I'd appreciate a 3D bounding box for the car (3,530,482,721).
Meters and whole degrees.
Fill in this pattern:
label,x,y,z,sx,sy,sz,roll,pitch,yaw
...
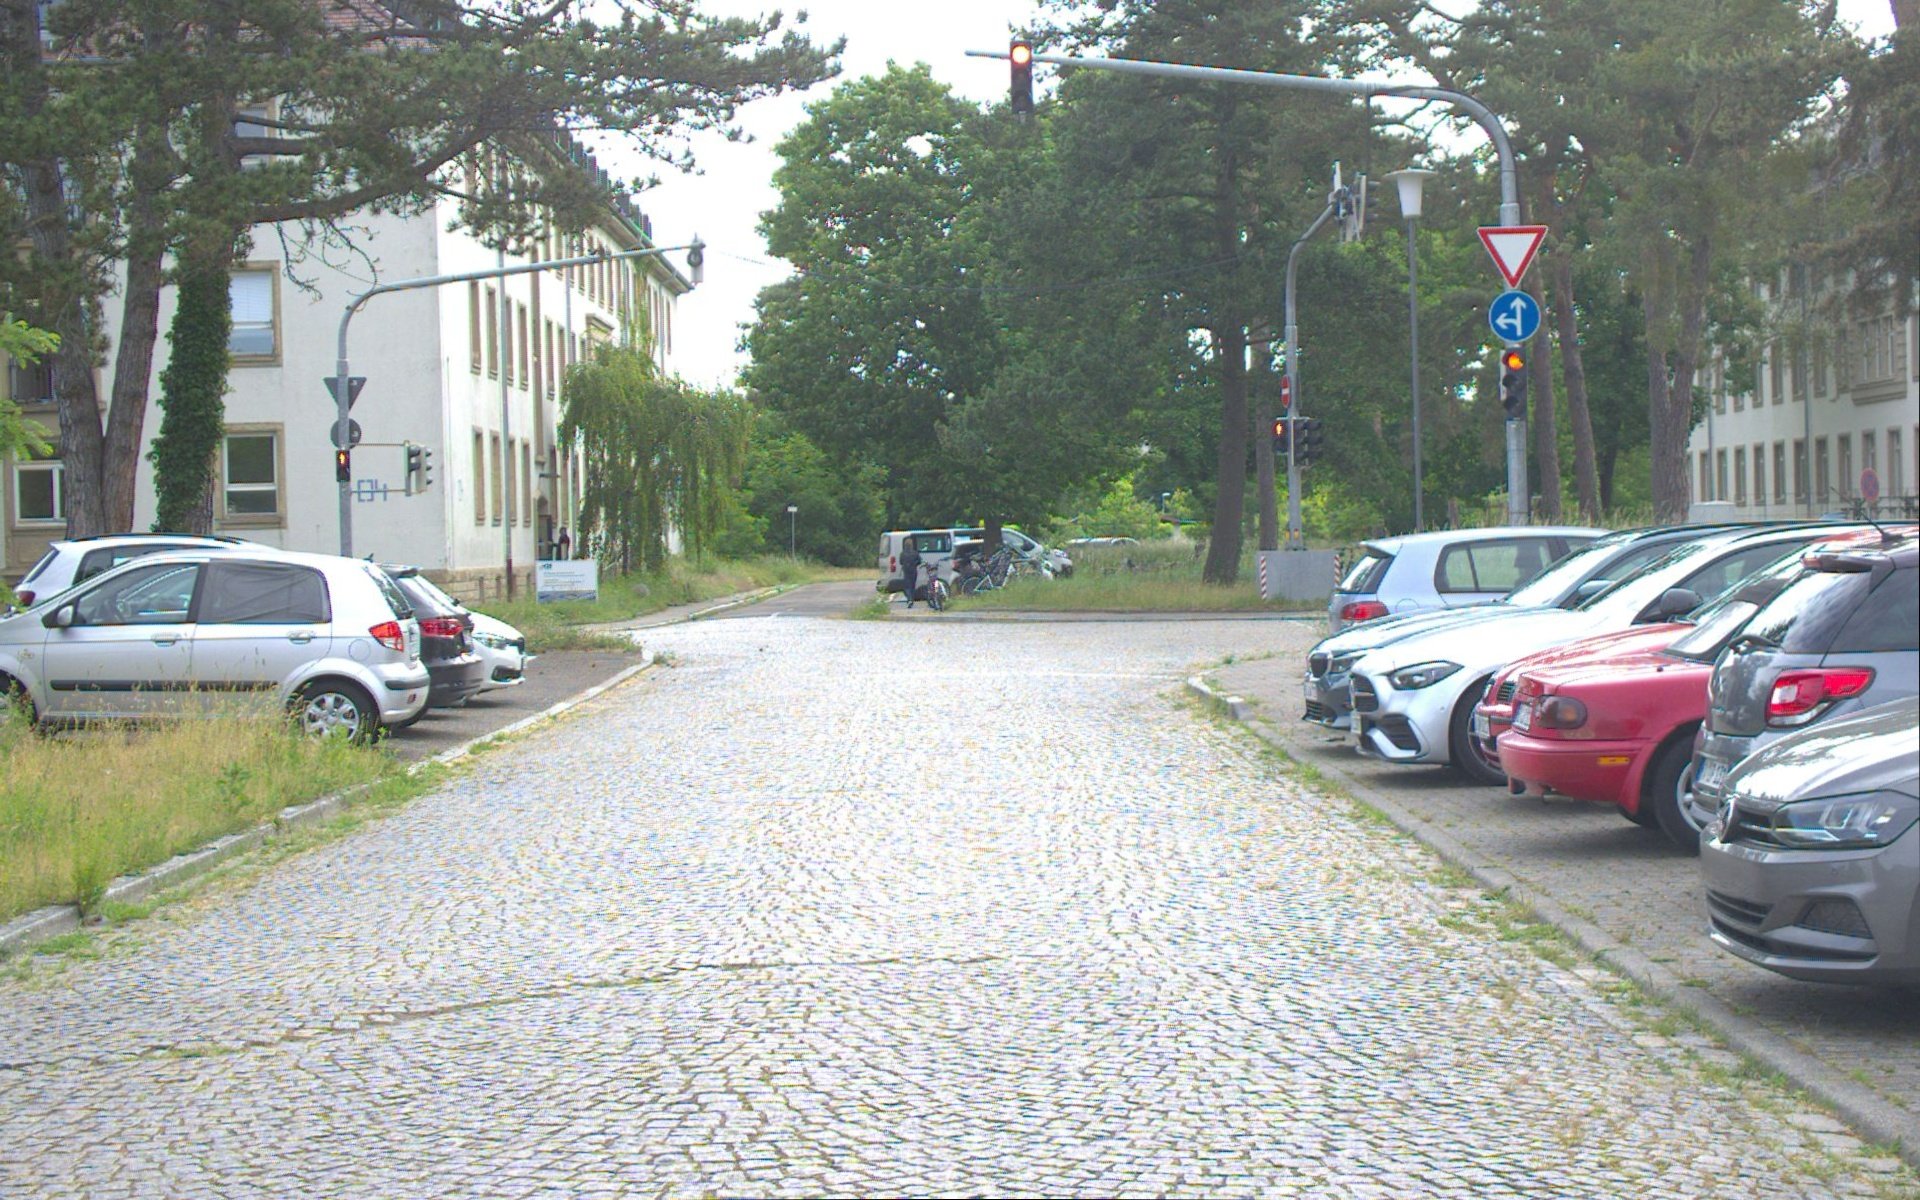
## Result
label,x,y,z,sx,sy,sz,roll,pitch,yaw
car,-6.338,0.208,30.692,3.947,1.558,1.650,1,1,-3

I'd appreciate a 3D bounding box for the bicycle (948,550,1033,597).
label,x,y,z,sx,sy,sz,roll,pitch,yaw
bicycle,0.727,-0.636,82.098,1.955,1.066,0.588,-2,1,-25

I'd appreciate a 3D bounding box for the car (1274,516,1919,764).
label,x,y,z,sx,sy,sz,roll,pitch,yaw
car,4.644,0.237,23.642,4.680,1.412,1.871,-3,1,-2

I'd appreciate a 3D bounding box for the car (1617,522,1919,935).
label,x,y,z,sx,sy,sz,roll,pitch,yaw
car,4.735,0.389,13.575,3.862,1.467,1.758,-3,1,-1

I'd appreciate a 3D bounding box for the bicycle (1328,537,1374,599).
label,x,y,z,sx,sy,sz,roll,pitch,yaw
bicycle,7.140,-0.600,62.816,0.586,1.102,1.961,-1,1,0

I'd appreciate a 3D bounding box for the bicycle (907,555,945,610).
label,x,y,z,sx,sy,sz,roll,pitch,yaw
bicycle,-0.717,-0.373,71.754,0.603,1.128,1.962,-1,1,-6

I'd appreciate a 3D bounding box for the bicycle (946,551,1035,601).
label,x,y,z,sx,sy,sz,roll,pitch,yaw
bicycle,0.687,-0.540,77.062,1.955,1.066,0.588,-2,1,-30

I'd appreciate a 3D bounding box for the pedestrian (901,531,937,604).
label,x,y,z,sx,sy,sz,roll,pitch,yaw
pedestrian,-0.907,-0.727,76.755,0.738,1.613,0.776,-1,1,2

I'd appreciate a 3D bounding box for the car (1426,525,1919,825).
label,x,y,z,sx,sy,sz,roll,pitch,yaw
car,4.828,0.333,18.687,4.262,1.412,1.871,-3,1,0

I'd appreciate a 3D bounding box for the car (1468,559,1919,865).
label,x,y,z,sx,sy,sz,roll,pitch,yaw
car,4.488,0.444,16.154,3.862,1.232,1.758,-3,1,-1

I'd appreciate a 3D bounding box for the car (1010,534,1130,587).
label,x,y,z,sx,sy,sz,roll,pitch,yaw
car,3.089,-1.118,96.900,3.231,1.411,1.725,-1,1,-3

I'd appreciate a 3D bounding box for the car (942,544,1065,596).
label,x,y,z,sx,sy,sz,roll,pitch,yaw
car,1.124,-0.798,89.647,3.005,1.264,1.535,-1,1,-6

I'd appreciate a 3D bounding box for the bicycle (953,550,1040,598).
label,x,y,z,sx,sy,sz,roll,pitch,yaw
bicycle,0.847,-0.600,79.766,1.955,1.066,0.588,-2,1,-25

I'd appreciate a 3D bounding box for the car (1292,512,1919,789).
label,x,y,z,sx,sy,sz,roll,pitch,yaw
car,4.442,0.250,20.955,4.421,1.412,1.871,-3,1,-9

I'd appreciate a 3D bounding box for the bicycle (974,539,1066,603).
label,x,y,z,sx,sy,sz,roll,pitch,yaw
bicycle,1.337,-0.645,76.407,1.954,1.379,0.588,-1,1,-7

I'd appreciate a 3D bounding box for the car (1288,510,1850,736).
label,x,y,z,sx,sy,sz,roll,pitch,yaw
car,4.552,0.154,26.093,3.927,1.472,1.642,-3,1,2

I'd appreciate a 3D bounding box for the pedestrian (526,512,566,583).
label,x,y,z,sx,sy,sz,roll,pitch,yaw
pedestrian,-10.920,-1.380,90.702,0.774,1.831,0.741,-2,1,-31

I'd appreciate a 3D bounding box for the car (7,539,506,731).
label,x,y,z,sx,sy,sz,roll,pitch,yaw
car,-5.647,0.266,27.911,3.745,1.424,1.583,1,1,-3

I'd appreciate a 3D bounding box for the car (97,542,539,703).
label,x,y,z,sx,sy,sz,roll,pitch,yaw
car,-6.153,0.202,33.234,3.947,1.416,1.650,1,1,-1

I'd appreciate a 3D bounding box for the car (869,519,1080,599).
label,x,y,z,sx,sy,sz,roll,pitch,yaw
car,0.377,-1.116,93.025,5.359,1.918,2.025,-3,1,-9

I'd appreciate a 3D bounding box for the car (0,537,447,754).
label,x,y,z,sx,sy,sz,roll,pitch,yaw
car,-5.730,0.309,25.314,3.702,1.474,1.583,1,1,-3

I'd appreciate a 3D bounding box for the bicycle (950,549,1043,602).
label,x,y,z,sx,sy,sz,roll,pitch,yaw
bicycle,0.803,-0.541,75.578,1.954,1.113,0.588,-1,1,-7

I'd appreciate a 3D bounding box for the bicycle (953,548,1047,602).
label,x,y,z,sx,sy,sz,roll,pitch,yaw
bicycle,0.870,-0.555,74.945,1.954,1.128,0.588,-1,1,-7

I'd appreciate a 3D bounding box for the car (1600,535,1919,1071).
label,x,y,z,sx,sy,sz,roll,pitch,yaw
car,4.152,0.484,10.706,3.862,1.467,1.758,-3,1,-4
